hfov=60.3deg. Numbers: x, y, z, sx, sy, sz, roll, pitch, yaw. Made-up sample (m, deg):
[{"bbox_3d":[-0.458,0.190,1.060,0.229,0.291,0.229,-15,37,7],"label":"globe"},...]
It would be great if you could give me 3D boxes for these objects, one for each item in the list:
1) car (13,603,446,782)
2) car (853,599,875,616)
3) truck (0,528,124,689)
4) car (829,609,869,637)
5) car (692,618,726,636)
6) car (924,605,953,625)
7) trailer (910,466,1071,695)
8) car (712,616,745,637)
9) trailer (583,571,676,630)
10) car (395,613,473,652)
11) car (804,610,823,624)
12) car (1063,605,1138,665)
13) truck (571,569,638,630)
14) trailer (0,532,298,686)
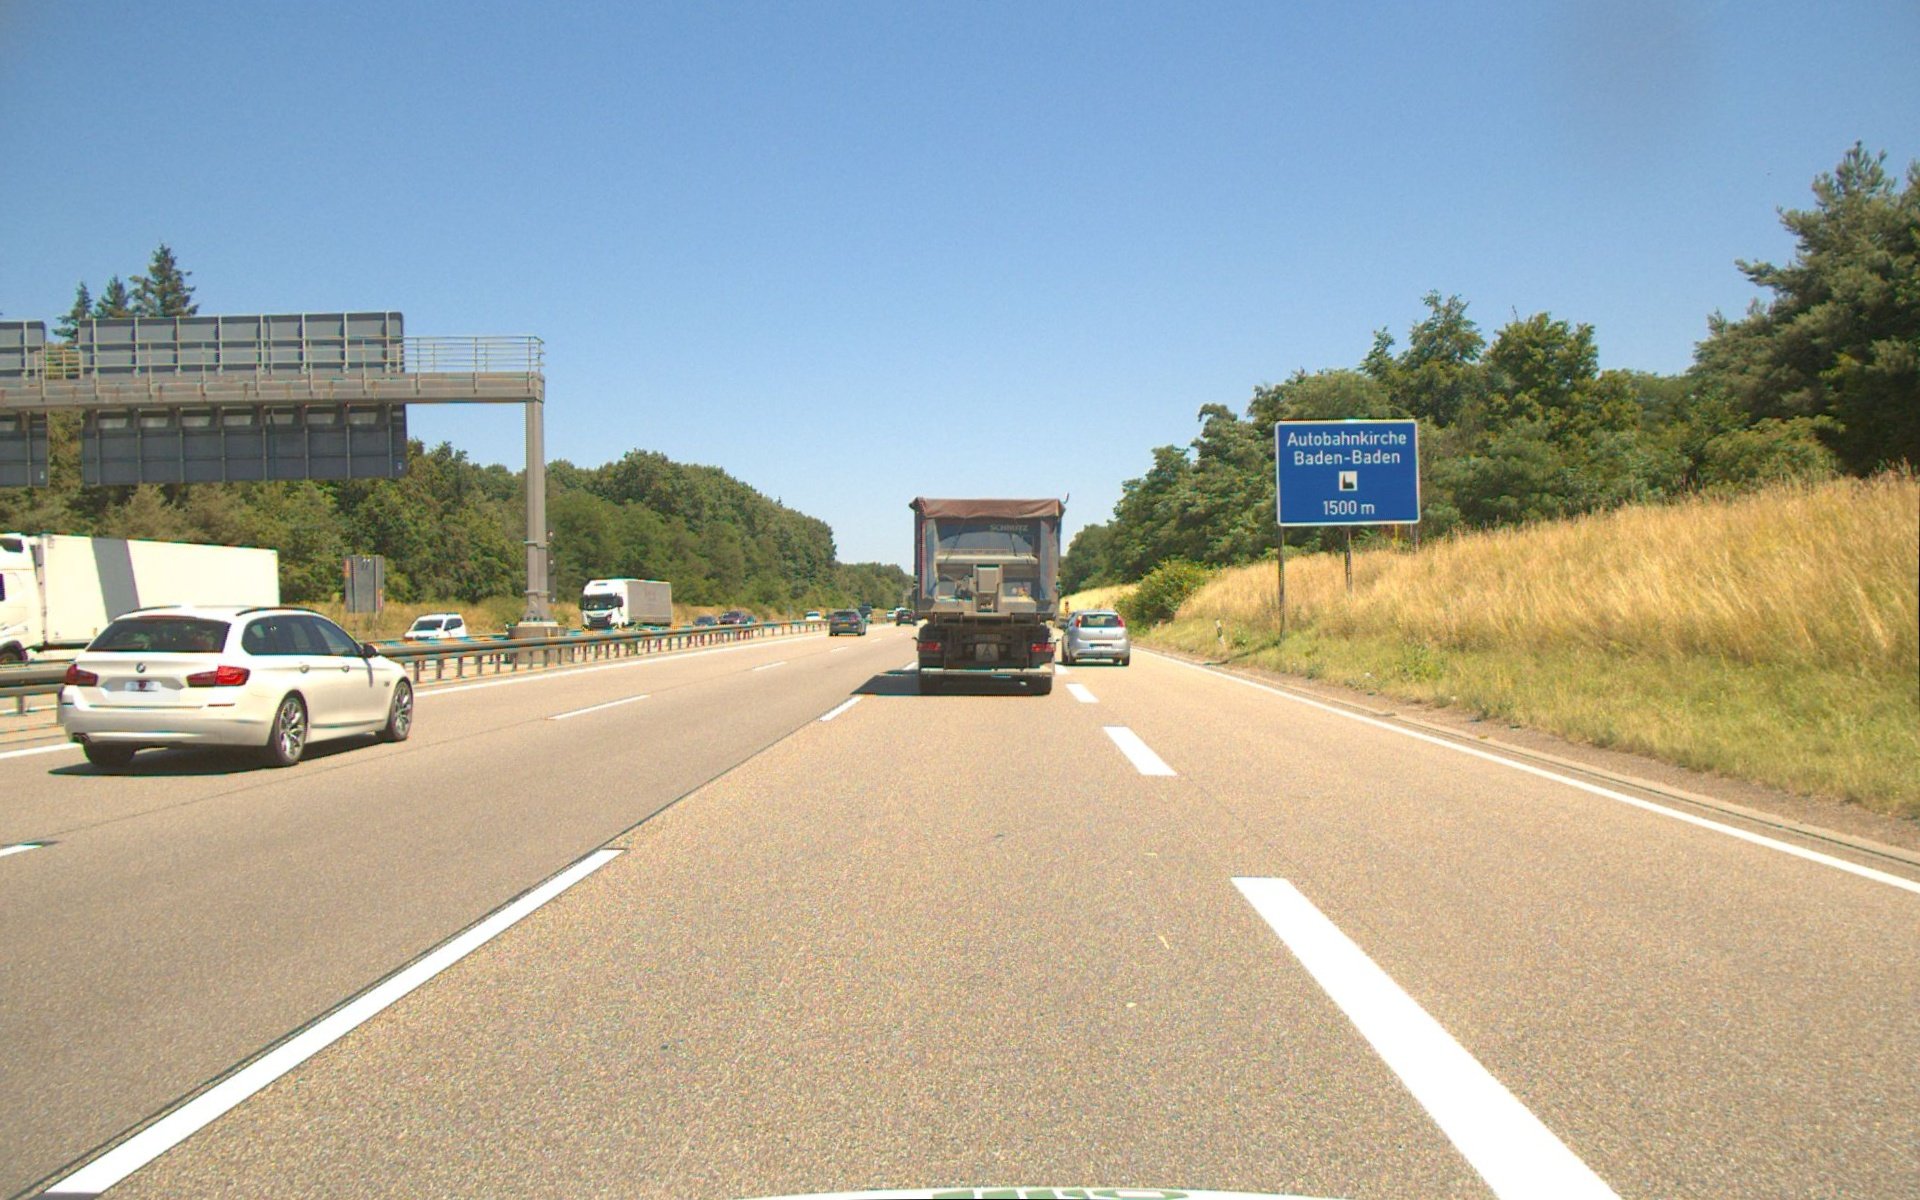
[{"bbox_3d":[-7.116,0.823,16.916,1.923,1.530,5.405,0,-1,1],"label":"car"},{"bbox_3d":[-12.073,0.934,208.252,2.232,1.974,4.943,-1,0,1],"label":"car"},{"bbox_3d":[-25.768,0.236,44.475,3.147,4.088,6.217,0,-1,3],"label":"truck"},{"bbox_3d":[-6.146,1.259,92.072,1.794,1.457,5.000,0,0,1],"label":"car"},{"bbox_3d":[-21.865,2.373,144.179,2.042,1.489,4.943,-1,0,1],"label":"car"},{"bbox_3d":[-1.622,1.112,124.432,1.854,1.495,4.263,1,0,3],"label":"car"},{"bbox_3d":[0.542,-0.333,32.275,2.680,3.824,9.109,0,0,0],"label":"trailer"},{"bbox_3d":[-17.988,2.048,128.768,1.808,1.638,4.922,0,-1,1],"label":"car"},{"bbox_3d":[-23.543,0.079,118.654,3.102,4.000,13.968,0,-1,3],"label":"trailer"},{"bbox_3d":[-24.510,1.499,77.283,1.952,1.780,4.991,0,0,1],"label":"car"},{"bbox_3d":[-19.809,2.269,223.348,1.952,1.860,4.643,-3,-1,1],"label":"car"},{"bbox_3d":[3.809,0.925,45.280,1.684,1.518,3.736,0,0,-1],"label":"car"},{"bbox_3d":[-23.957,-0.009,111.816,3.102,4.000,5.402,0,-1,3],"label":"truck"},{"bbox_3d":[-25.415,0.290,51.457,3.147,4.113,14.365,0,0,3],"label":"trailer"}]
